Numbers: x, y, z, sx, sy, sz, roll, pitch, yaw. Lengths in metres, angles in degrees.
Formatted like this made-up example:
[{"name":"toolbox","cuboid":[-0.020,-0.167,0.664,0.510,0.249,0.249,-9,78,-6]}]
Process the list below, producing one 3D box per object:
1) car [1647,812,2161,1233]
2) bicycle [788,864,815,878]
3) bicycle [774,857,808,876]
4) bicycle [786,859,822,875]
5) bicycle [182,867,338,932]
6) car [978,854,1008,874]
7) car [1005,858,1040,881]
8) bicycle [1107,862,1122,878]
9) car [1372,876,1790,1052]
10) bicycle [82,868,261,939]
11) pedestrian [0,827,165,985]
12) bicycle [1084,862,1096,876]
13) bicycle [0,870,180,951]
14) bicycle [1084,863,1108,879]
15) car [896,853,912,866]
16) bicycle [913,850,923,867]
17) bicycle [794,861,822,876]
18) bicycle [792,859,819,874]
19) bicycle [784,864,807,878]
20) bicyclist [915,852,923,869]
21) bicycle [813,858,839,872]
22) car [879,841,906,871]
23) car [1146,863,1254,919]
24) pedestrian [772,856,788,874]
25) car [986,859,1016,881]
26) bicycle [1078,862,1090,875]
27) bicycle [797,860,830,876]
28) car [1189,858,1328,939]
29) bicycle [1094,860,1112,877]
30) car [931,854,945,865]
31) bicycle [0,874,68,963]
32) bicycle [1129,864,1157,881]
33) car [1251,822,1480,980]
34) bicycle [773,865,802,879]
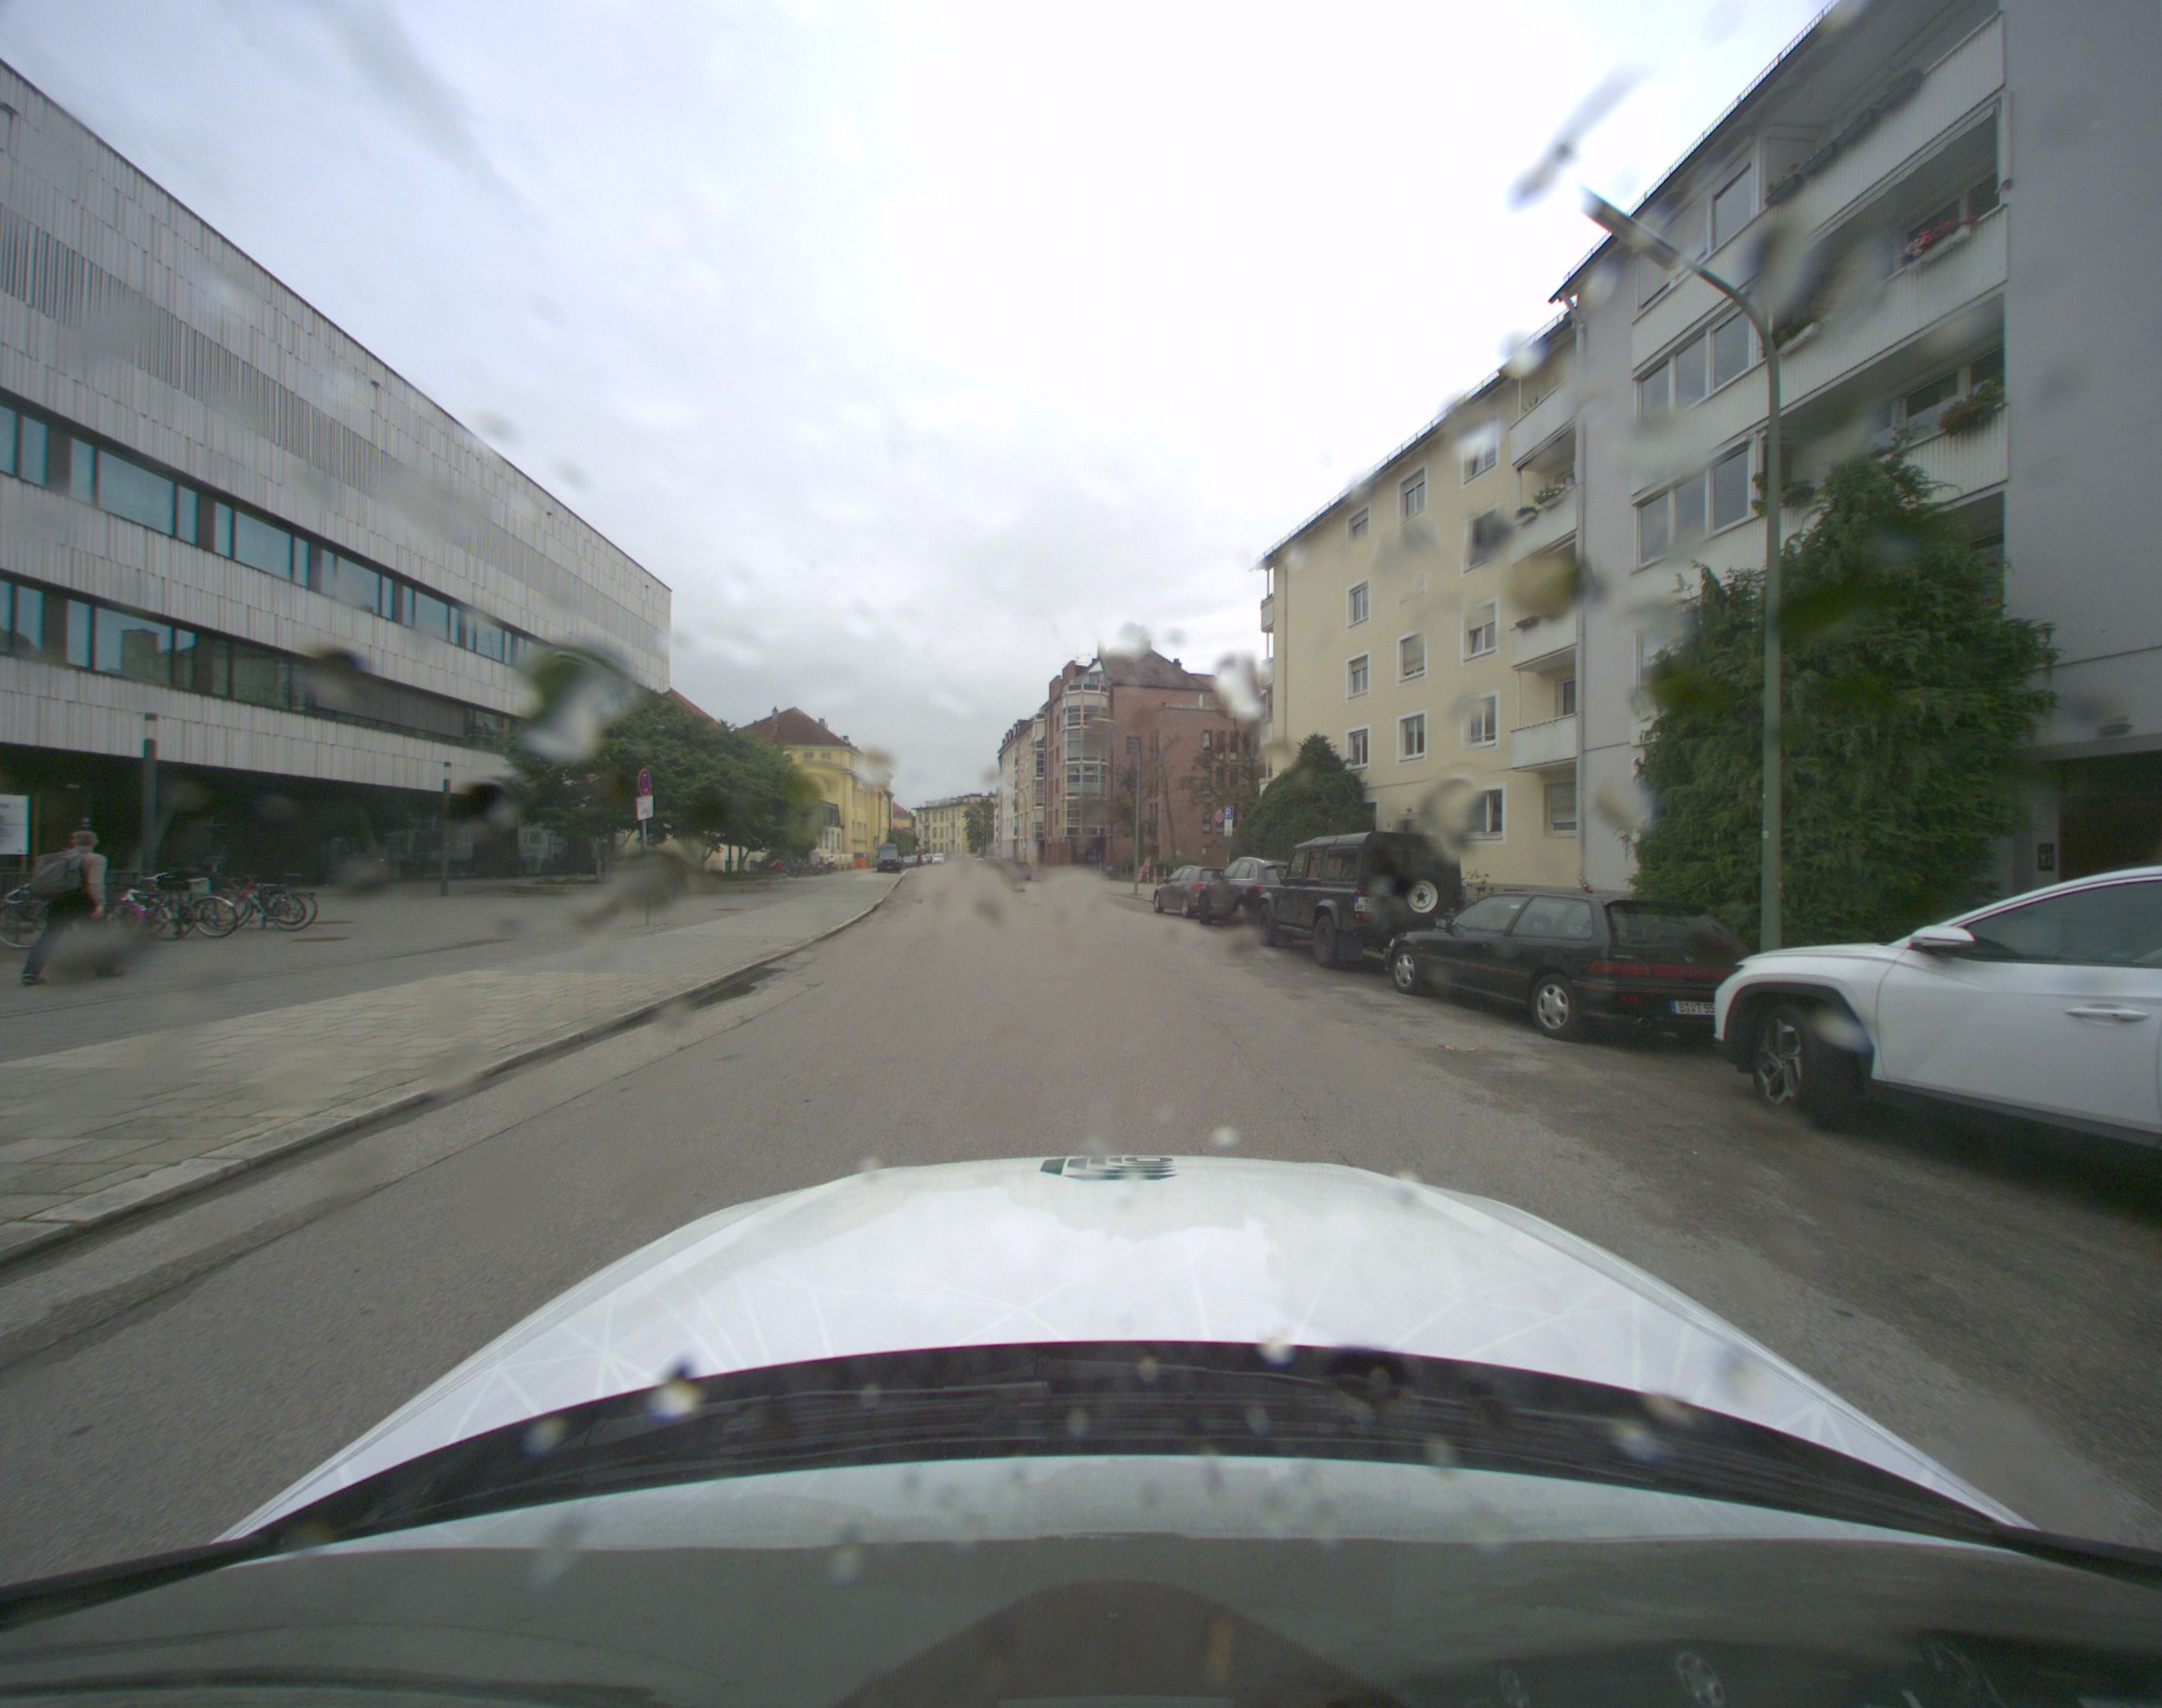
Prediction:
[{"name":"car","cuboid":[5.308,0.708,3.652,2.023,1.678,4.604,2,0,-6]},{"name":"bicycle","cuboid":[-20.287,1.235,59.149,1.670,0.916,0.595,2,0,-2]},{"name":"bicycle","cuboid":[-20.414,0.895,57.377,2.099,1.227,0.786,2,0,-2]},{"name":"bicycle","cuboid":[-20.896,0.995,61.399,2.547,1.206,0.424,1,0,-2]},{"name":"bicycle","cuboid":[-15.361,0.855,15.285,2.045,1.111,0.615,2,0,-10]},{"name":"car","cuboid":[-8.178,0.910,74.972,1.968,1.602,4.647,2,0,-15]},{"name":"car","cuboid":[-4.344,1.082,59.568,1.926,1.512,4.374,3,-1,-12]},{"name":"bicycle","cuboid":[2.409,1.154,58.853,0.416,1.173,1.370,2,0,33]},{"name":"car","cuboid":[4.787,0.958,8.509,1.658,1.349,3.792,2,-1,-9]},{"name":"bicycle","cuboid":[-15.395,0.836,13.827,2.045,1.111,0.615,2,0,-10]},{"name":"pedestrian","cuboid":[-11.973,0.600,9.785,0.788,1.783,1.009,2,-2,-17]},{"name":"bicycle","cuboid":[0.722,1.236,67.893,0.487,1.060,1.986,2,0,-14]},{"name":"bicycle","cuboid":[-15.102,0.853,12.282,2.045,1.111,0.615,2,0,-10]},{"name":"bicycle","cuboid":[1.216,1.384,66.244,1.846,1.147,0.487,2,0,-7]},{"name":"car","cuboid":[-22.427,0.698,103.394,1.772,1.550,3.766,2,0,-9]},{"name":"bicycle","cuboid":[-19.370,0.499,96.830,0.747,2.013,2.842,-1,1,-6]},{"name":"bicycle","cuboid":[-20.824,1.126,62.102,1.862,1.029,0.539,2,0,-2]},{"name":"bicycle","cuboid":[-20.556,0.913,60.754,1.786,1.033,0.507,2,0,-2]},{"name":"bicycle","cuboid":[-19.577,1.149,55.896,1.370,0.862,0.438,2,0,-6]},{"name":"bicyclist","cuboid":[-19.391,0.802,97.259,0.766,2.013,0.766,-3,1,-7]},{"name":"bicycle","cuboid":[-21.258,0.942,67.804,1.899,1.092,0.677,2,0,-2]},{"name":"car","cuboid":[-17.927,0.245,77.553,2.425,2.715,5.925,0,-1,-13]},{"name":"car","cuboid":[3.296,1.006,23.272,1.755,1.396,4.028,3,-1,-12]},{"name":"pedestrian","cuboid":[-20.513,0.762,55.476,0.717,1.163,1.038,2,0,-7]},{"name":"car","cuboid":[-6.907,1.351,70.022,1.833,1.602,4.244,2,0,-15]},{"name":"bicycle","cuboid":[0.224,1.221,67.759,0.487,1.060,1.986,2,-1,-14]},{"name":"bicycle","cuboid":[-20.799,1.089,63.418,2.304,1.135,0.581,2,0,-2]},{"name":"car","cuboid":[3.881,0.918,18.653,1.657,1.566,4.503,2,-1,-7]},{"name":"bicycle","cuboid":[1.596,1.082,60.425,0.535,1.248,2.398,2,-2,-18]},{"name":"car","cuboid":[-22.098,0.842,125.657,2.026,1.621,4.488,-1,-1,-11]},{"name":"bicycle","cuboid":[-14.896,0.814,10.669,2.048,1.111,0.614,2,0,-14]},{"name":"bicycle","cuboid":[4.001,1.186,52.449,1.701,0.965,0.544,2,0,-12]},{"name":"car","cuboid":[4.349,0.619,13.304,1.745,2.081,4.507,2,0,-5]},{"name":"bicycle","cuboid":[-19.746,1.182,54.817,1.716,0.862,0.438,2,0,-6]}]
